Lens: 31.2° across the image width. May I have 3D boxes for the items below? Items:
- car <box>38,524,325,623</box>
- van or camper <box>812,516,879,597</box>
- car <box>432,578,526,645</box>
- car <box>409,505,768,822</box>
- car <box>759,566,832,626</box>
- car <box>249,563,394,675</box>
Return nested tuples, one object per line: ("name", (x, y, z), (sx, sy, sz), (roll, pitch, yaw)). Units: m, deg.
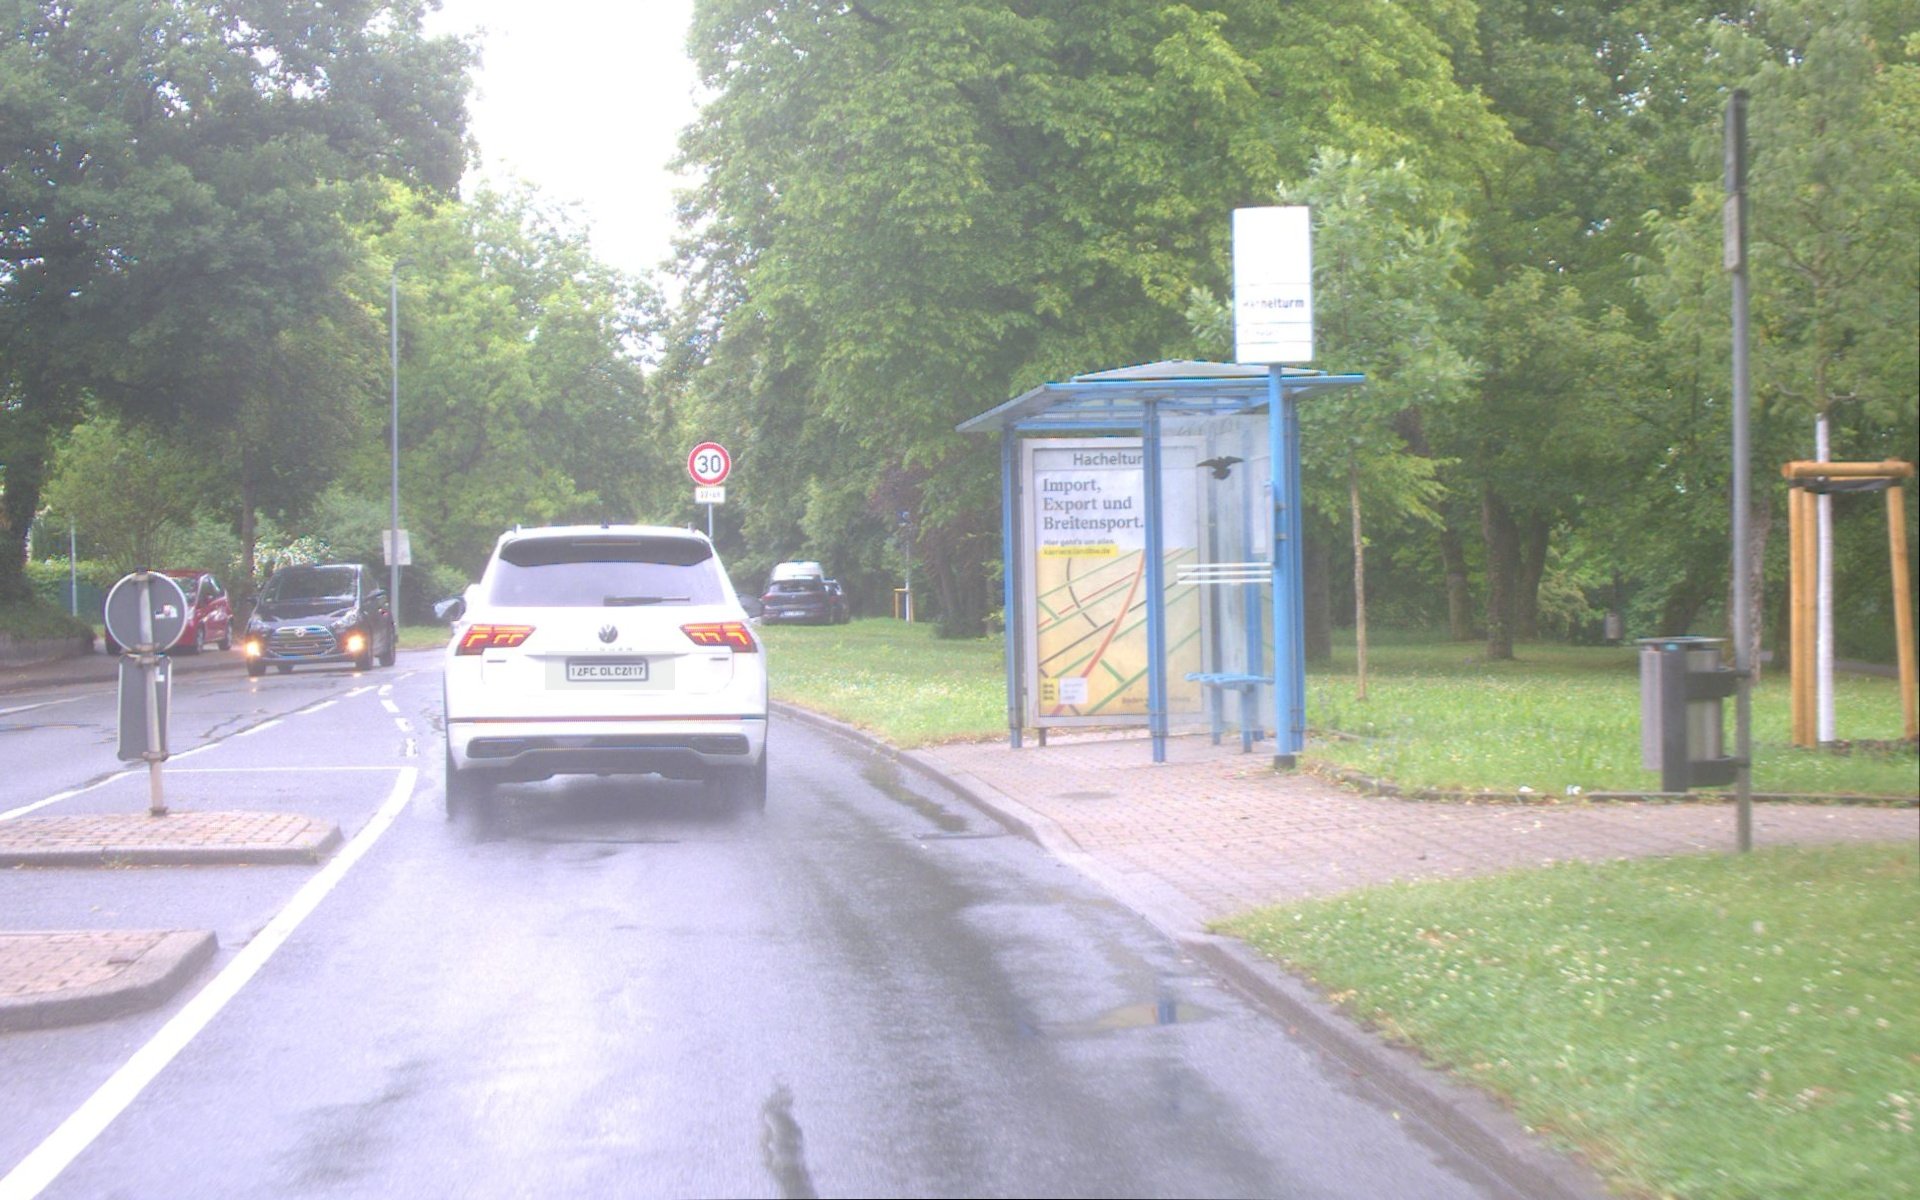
("car", (-16.929, -0.578, 75.174), (5.742, 2.031, 3.480), (1, 0, -6))
("van or camper", (-3.829, -1.418, 116.181), (2.016, 2.574, 8.435), (1, 0, 0))
("car", (-10.869, 0.248, 77.907), (1.790, 1.418, 4.360), (-1, 1, -4))
("car", (-2.145, 0.326, 20.692), (1.905, 1.679, 4.201), (-1, 0, -4))
("car", (-4.219, -0.090, 88.585), (1.700, 1.457, 4.217), (-2, 0, -1))
("car", (-9.475, 0.244, 50.783), (1.993, 1.571, 4.001), (-1, 1, -12))
